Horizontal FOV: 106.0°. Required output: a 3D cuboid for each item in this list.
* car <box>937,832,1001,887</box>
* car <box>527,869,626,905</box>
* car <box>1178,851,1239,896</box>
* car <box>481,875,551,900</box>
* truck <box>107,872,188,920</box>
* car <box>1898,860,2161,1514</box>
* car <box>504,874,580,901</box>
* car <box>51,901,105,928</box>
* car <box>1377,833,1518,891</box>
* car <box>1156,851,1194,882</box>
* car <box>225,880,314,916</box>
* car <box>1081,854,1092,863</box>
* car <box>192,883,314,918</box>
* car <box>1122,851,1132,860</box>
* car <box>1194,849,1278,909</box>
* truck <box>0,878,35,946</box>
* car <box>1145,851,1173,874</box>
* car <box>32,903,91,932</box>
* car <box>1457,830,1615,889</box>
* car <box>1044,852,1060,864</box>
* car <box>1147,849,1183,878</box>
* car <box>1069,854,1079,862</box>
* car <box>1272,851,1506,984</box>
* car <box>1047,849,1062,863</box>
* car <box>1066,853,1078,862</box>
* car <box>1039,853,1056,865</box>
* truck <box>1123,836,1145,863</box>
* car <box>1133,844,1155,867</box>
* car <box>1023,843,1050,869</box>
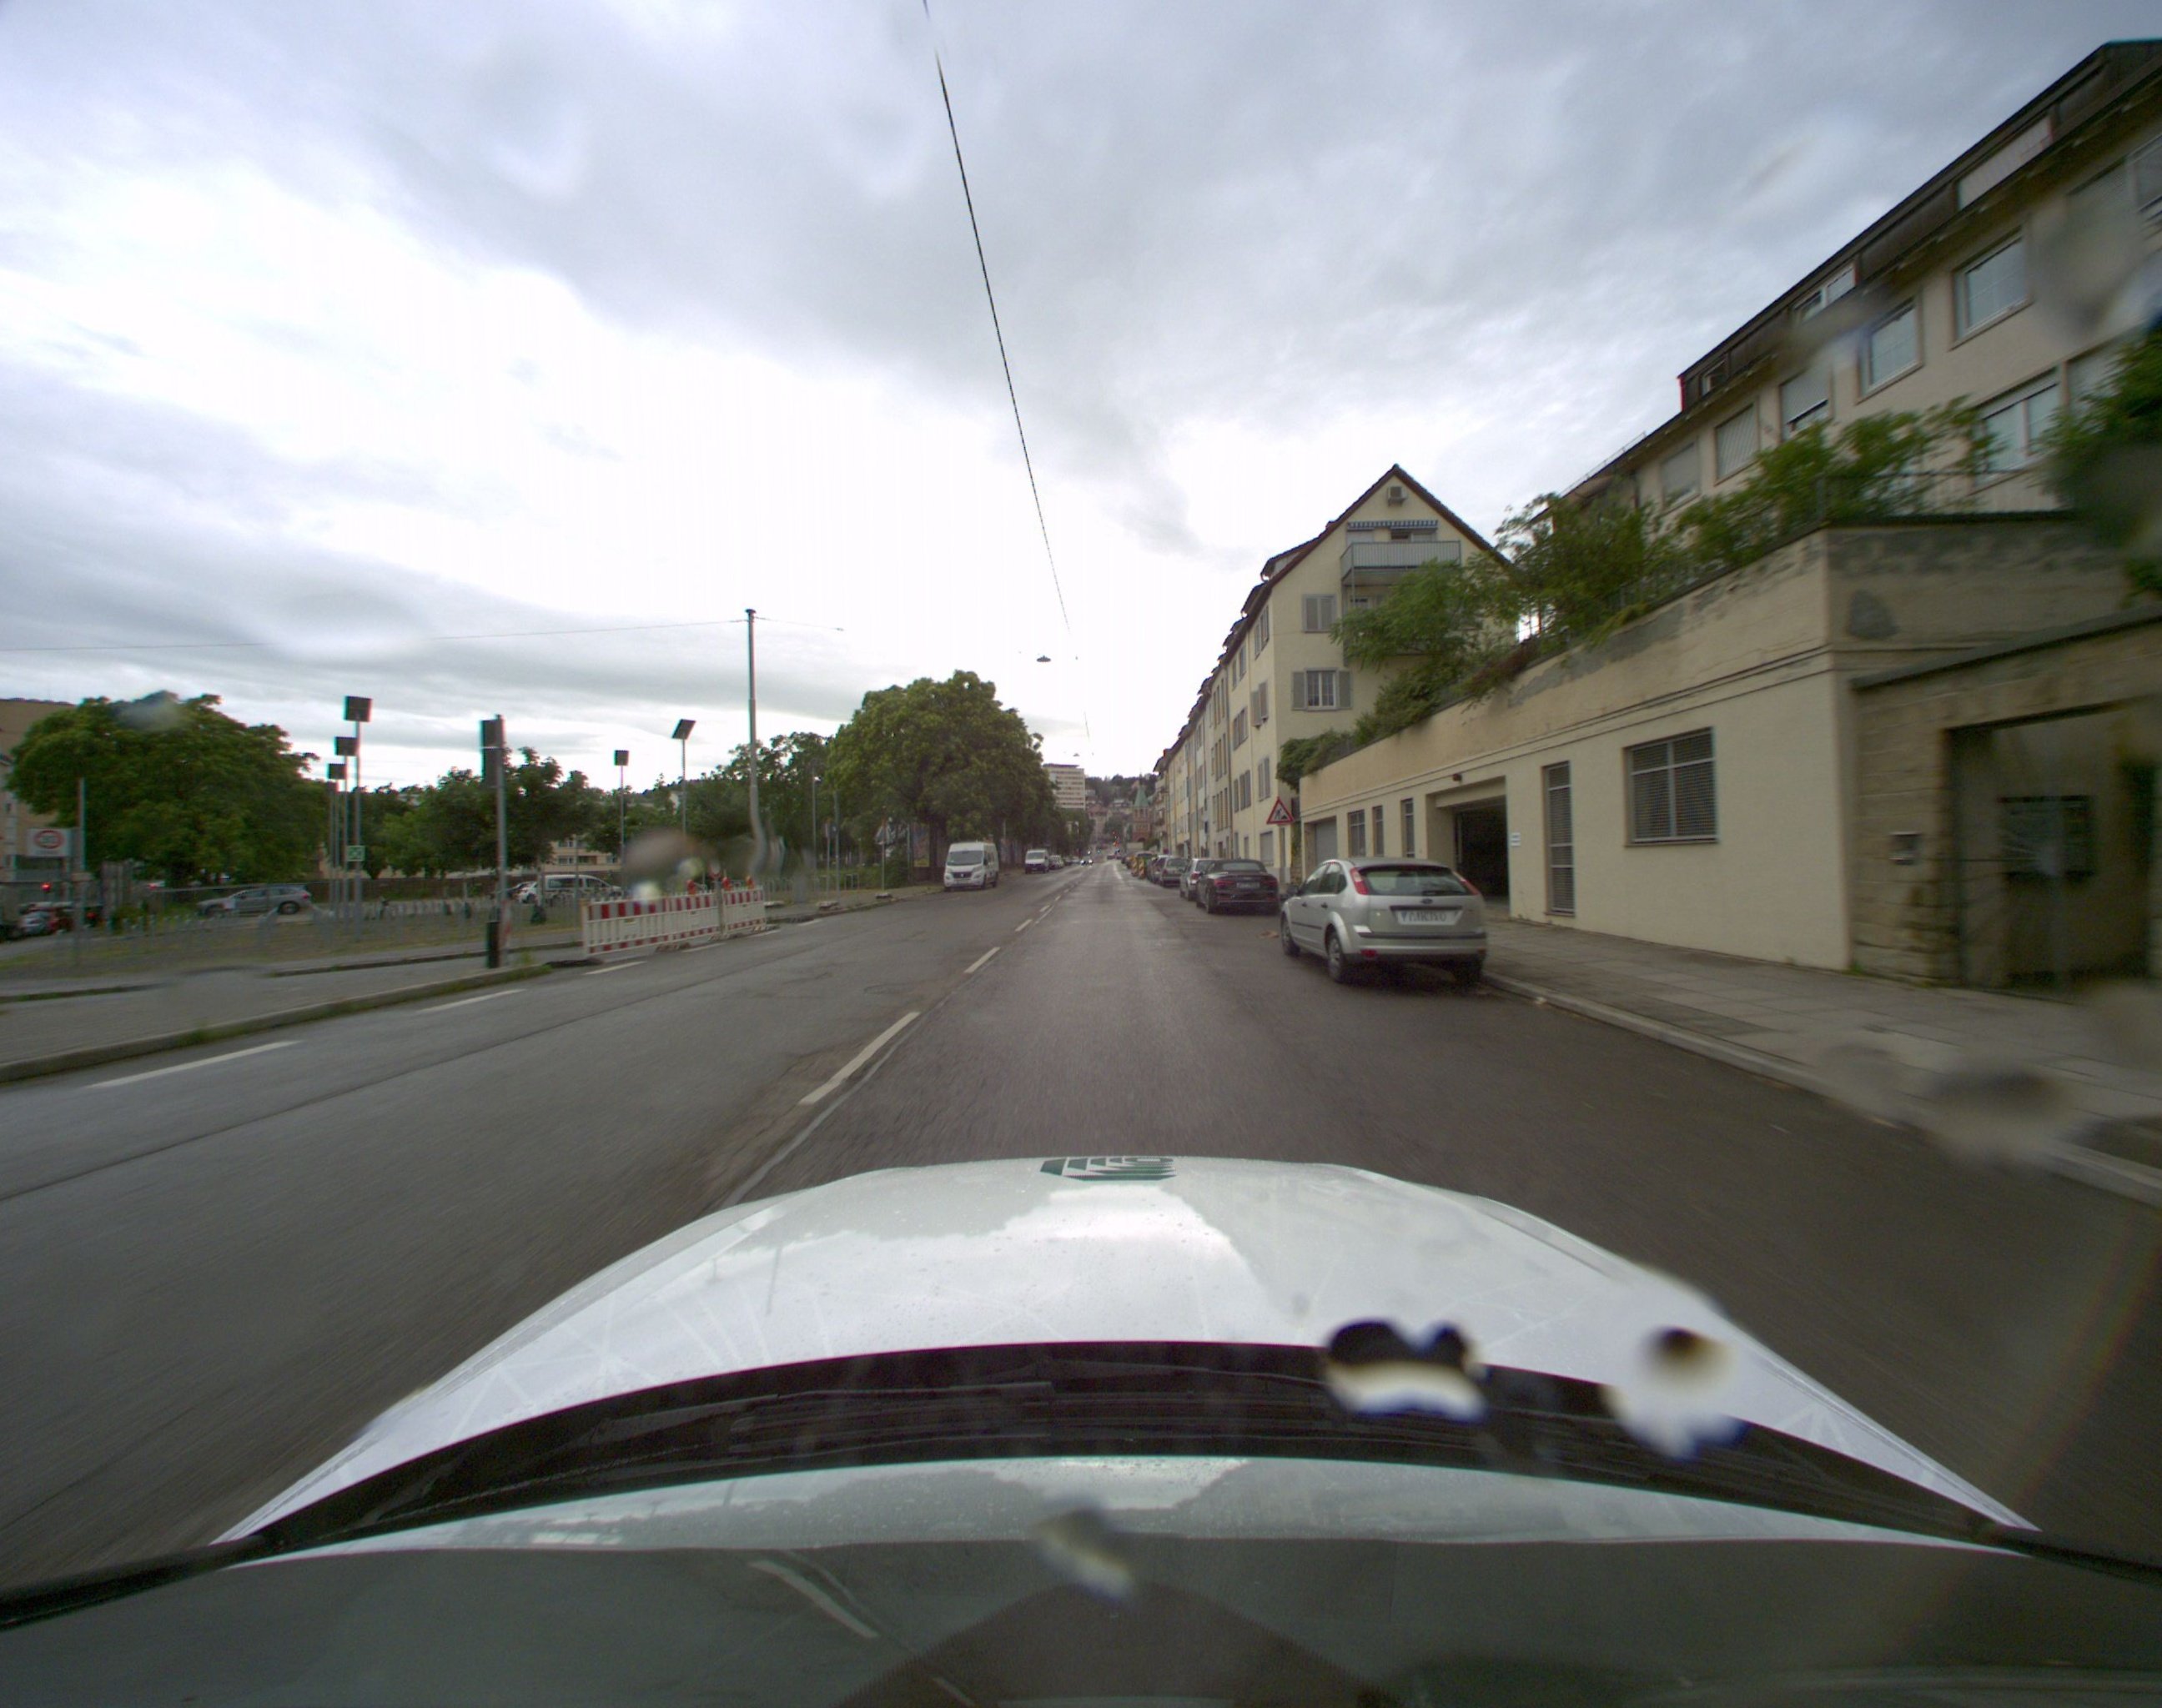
[{"bbox_3d":[-5.818,0.261,43.190,2.222,2.578,6.539,-3,0,1],"label":"car"},{"bbox_3d":[-30.390,1.954,49.154,1.975,1.834,4.721,-2,0,43],"label":"car"},{"bbox_3d":[4.358,0.625,28.303,1.623,1.454,3.760,0,1,1],"label":"car"},{"bbox_3d":[-42.726,2.505,61.657,1.777,1.625,4.024,-2,0,43],"label":"car"},{"bbox_3d":[-116.958,5.247,102.342,15.506,5.143,5.645,-3,1,44],"label":"truck"},{"bbox_3d":[3.223,0.767,0.299,1.682,1.454,4.236,0,1,1],"label":"car"},{"bbox_3d":[-37.223,2.307,56.320,1.777,1.625,4.024,-2,0,43],"label":"car"},{"bbox_3d":[-64.765,3.888,52.631,3.949,1.510,1.811,-3,1,44],"label":"car"},{"bbox_3d":[9.800,0.196,22.186,1.881,1.401,4.202,-1,0,-1],"label":"car"},{"bbox_3d":[4.699,0.582,40.935,1.553,1.454,3.760,0,1,1],"label":"car"},{"bbox_3d":[-53.117,2.881,53.399,4.023,2.052,1.778,-3,-2,-44],"label":"car"},{"bbox_3d":[0.942,0.741,137.325,1.799,1.415,4.382,-2,0,0],"label":"car"},{"bbox_3d":[-48.679,2.722,48.055,4.934,1.625,2.099,-3,-2,-44],"label":"car"},{"bbox_3d":[8.342,0.287,147.579,1.811,1.652,4.077,0,0,2],"label":"car"},{"bbox_3d":[4.045,0.603,21.731,1.623,1.454,3.760,0,0,1],"label":"car"},{"bbox_3d":[-49.099,2.659,36.007,5.223,2.931,2.797,-3,1,44],"label":"truck"},{"bbox_3d":[4.926,0.506,51.861,1.620,1.411,3.844,0,1,2],"label":"car"},{"bbox_3d":[-61.609,3.823,49.279,3.949,1.510,1.811,-3,1,44],"label":"car"},{"bbox_3d":[12.103,0.138,22.044,1.881,1.401,4.202,-1,0,-1],"label":"car"},{"bbox_3d":[-3.690,0.555,104.143,1.676,1.462,4.278,-2,0,1],"label":"car"},{"bbox_3d":[4.727,0.513,46.296,1.710,1.524,4.001,0,1,1],"label":"car"},{"bbox_3d":[-1.368,0.690,153.280,1.704,1.450,4.295,-2,-1,1],"label":"car"},{"bbox_3d":[3.885,0.708,11.084,1.682,1.454,4.236,0,0,1],"label":"car"},{"bbox_3d":[-3.506,0.309,110.289,1.717,1.800,4.345,-2,0,1],"label":"car"},{"bbox_3d":[-1.516,0.677,138.275,1.797,1.450,4.657,-2,-1,0],"label":"car"},{"bbox_3d":[-3.995,0.591,96.991,1.676,1.398,3.911,-2,0,1],"label":"car"},{"bbox_3d":[6.567,-0.517,101.721,2.460,3.172,7.040,-1,0,2],"label":"truck"},{"bbox_3d":[5.810,0.125,75.685,1.810,1.924,4.242,-2,0,3],"label":"car"},{"bbox_3d":[-4.411,0.157,81.930,2.004,2.487,5.987,-2,0,3],"label":"car"}]
